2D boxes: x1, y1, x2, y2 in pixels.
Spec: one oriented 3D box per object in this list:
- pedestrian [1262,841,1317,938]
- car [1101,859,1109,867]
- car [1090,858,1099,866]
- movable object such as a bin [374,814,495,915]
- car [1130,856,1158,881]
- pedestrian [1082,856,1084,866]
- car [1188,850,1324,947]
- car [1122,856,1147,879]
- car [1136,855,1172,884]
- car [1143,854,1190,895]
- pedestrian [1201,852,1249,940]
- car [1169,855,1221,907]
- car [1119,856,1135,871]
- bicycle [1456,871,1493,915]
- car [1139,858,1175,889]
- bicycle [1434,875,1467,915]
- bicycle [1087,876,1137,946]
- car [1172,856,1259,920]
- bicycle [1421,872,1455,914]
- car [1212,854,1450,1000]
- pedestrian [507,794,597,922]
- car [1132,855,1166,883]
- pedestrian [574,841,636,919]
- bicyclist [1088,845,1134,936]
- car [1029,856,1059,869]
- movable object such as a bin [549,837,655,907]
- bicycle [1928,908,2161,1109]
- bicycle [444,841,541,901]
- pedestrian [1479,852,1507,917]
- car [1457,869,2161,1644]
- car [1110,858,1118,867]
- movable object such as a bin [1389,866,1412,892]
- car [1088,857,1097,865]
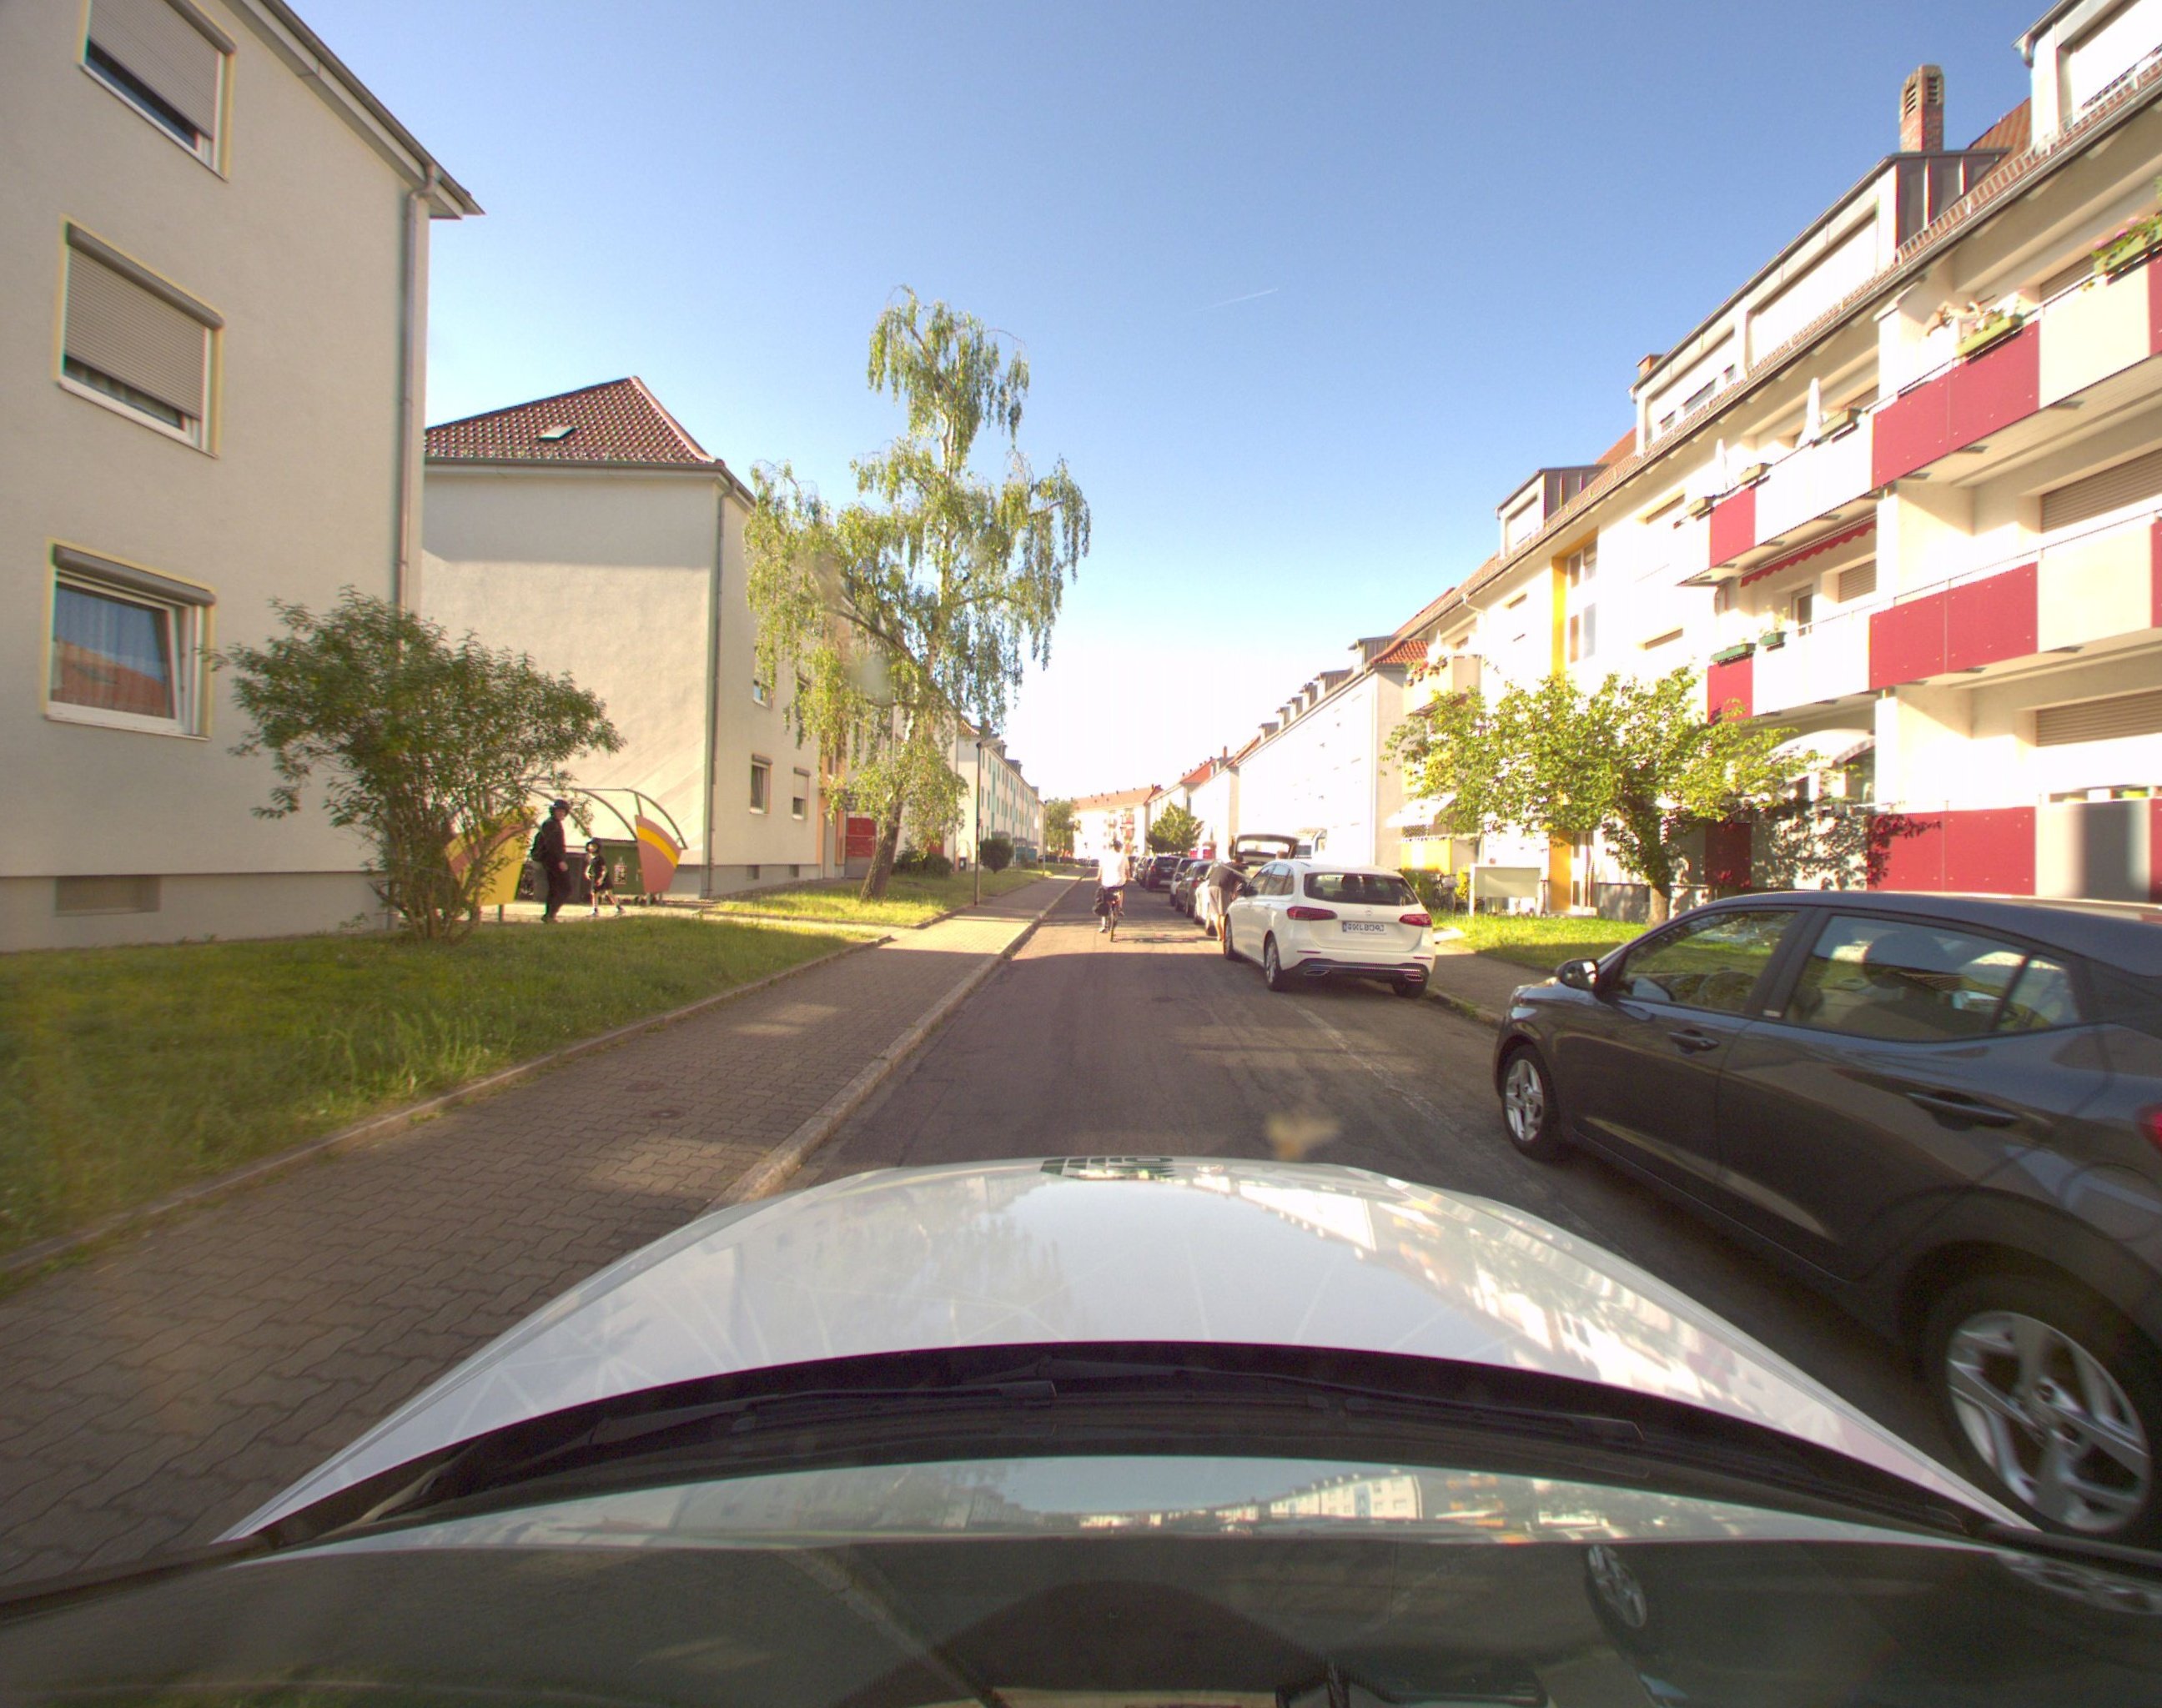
[{"bbox_3d":[3.678,0.616,14.417,0.816,1.687,0.604,0,0,1],"label":"pedestrian"},{"bbox_3d":[4.798,1.818,162.747,1.465,1.516,3.076,0,0,-1],"label":"car"},{"bbox_3d":[2.204,1.339,133.700,1.465,1.335,3.140,0,0,-1],"label":"car"},{"bbox_3d":[-9.554,0.148,12.073,1.080,1.406,0.813,2,0,2],"label":"movable object such as a bin"},{"bbox_3d":[4.484,1.006,58.775,1.706,1.595,4.398,4,0,1],"label":"car"},{"bbox_3d":[0.325,1.107,129.739,0.433,1.574,0.543,0,0,1],"label":"pedestrian"},{"bbox_3d":[3.423,0.796,16.906,1.985,1.613,5.000,3,0,3],"label":"car"},{"bbox_3d":[4.305,1.059,66.104,1.855,1.668,4.128,3,0,1],"label":"car"},{"bbox_3d":[4.202,0.863,47.517,1.684,1.575,4.435,2,0,1],"label":"car"},{"bbox_3d":[3.811,0.885,36.814,1.776,1.648,4.471,3,0,2],"label":"car"},{"bbox_3d":[2.627,0.753,14.972,0.737,1.575,0.880,0,0,1],"label":"pedestrian"},{"bbox_3d":[3.687,0.834,26.636,1.473,1.529,2.945,3,0,5],"label":"car"},{"bbox_3d":[5.657,1.123,100.891,1.669,1.739,3.941,2,0,-1],"label":"car"},{"bbox_3d":[10.631,1.046,22.030,0.401,1.132,1.273,1,0,2],"label":"bicycle"},{"bbox_3d":[3.879,0.967,41.912,1.635,1.498,4.159,1,0,2],"label":"car"},{"bbox_3d":[9.689,1.067,21.351,0.737,1.047,0.239,0,0,3],"label":"bicycle"},{"bbox_3d":[0.540,1.000,14.939,0.806,1.128,2.101,0,0,-1],"label":"bicycle"},{"bbox_3d":[3.559,0.844,22.160,1.688,1.491,3.984,3,0,0],"label":"car"},{"bbox_3d":[9.740,1.050,22.260,0.401,1.087,1.300,0,0,2],"label":"bicycle"},{"bbox_3d":[3.026,0.788,10.921,1.766,1.505,4.479,2,0,0],"label":"car"},{"bbox_3d":[-7.749,0.058,11.961,0.803,1.824,0.718,1,-1,2],"label":"pedestrian"},{"bbox_3d":[4.400,0.938,53.568,1.745,1.617,4.450,3,0,0],"label":"car"},{"bbox_3d":[-8.139,0.437,13.949,0.683,1.317,0.576,1,-1,2],"label":"pedestrian"},{"bbox_3d":[0.540,0.659,15.061,0.806,1.643,0.898,0,-1,-1],"label":"bicyclist"},{"bbox_3d":[-5.179,1.197,115.008,4.221,1.638,1.581,1,0,-3],"label":"car"},{"bbox_3d":[-9.886,0.355,16.870,1.383,1.336,1.228,3,0,1],"label":"movable object such as a bin"},{"bbox_3d":[7.134,0.950,5.180,2.411,1.130,0.881,0,0,7],"label":"bicycle"},{"bbox_3d":[-11.768,0.319,16.362,0.530,1.117,1.850,2,0,1],"label":"bicycle"},{"bbox_3d":[9.553,0.703,18.890,0.449,1.495,0.360,1,-2,2],"label":"pedestrian"},{"bbox_3d":[3.036,0.847,2.973,1.639,1.449,4.065,3,0,4],"label":"car"},{"bbox_3d":[6.069,1.578,149.995,1.377,1.497,3.076,0,0,-1],"label":"car"},{"bbox_3d":[12.757,0.999,32.533,0.640,1.035,0.757,0,-3,2],"label":"movable object such as a bin"},{"bbox_3d":[1.934,1.249,138.022,1.465,1.335,3.140,0,0,-1],"label":"car"}]
